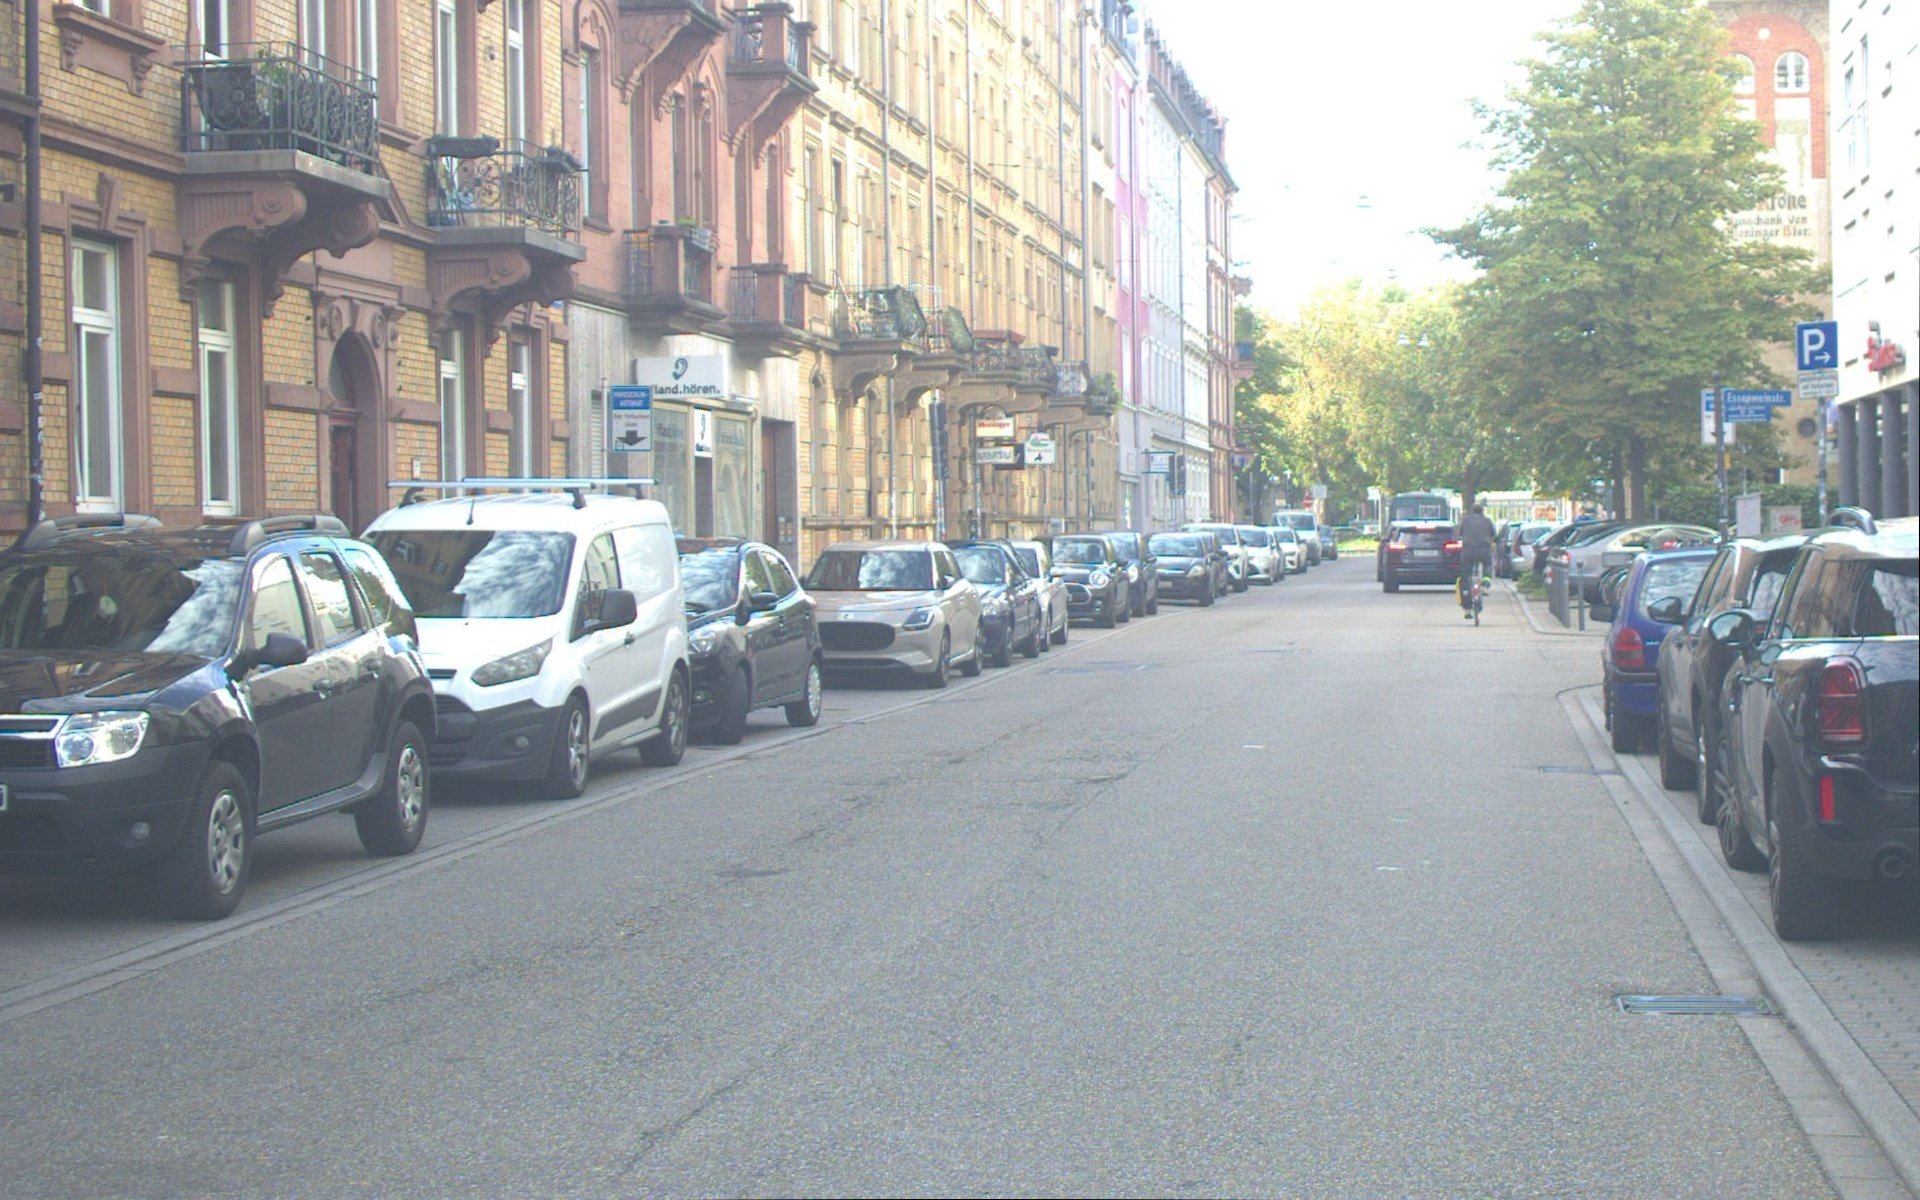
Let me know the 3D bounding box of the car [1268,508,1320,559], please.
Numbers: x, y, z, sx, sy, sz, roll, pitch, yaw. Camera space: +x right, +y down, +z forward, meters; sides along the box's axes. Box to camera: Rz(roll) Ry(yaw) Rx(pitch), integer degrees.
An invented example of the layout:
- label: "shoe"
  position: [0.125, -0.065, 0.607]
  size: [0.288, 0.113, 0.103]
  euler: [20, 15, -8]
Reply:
- label: "car"
  position: [12.212, -2.420, 125.529]
  size: [1.690, 1.815, 3.866]
  euler: [1, 1, 8]

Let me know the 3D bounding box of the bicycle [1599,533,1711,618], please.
- label: "bicycle"
  position: [10.014, -0.360, 49.551]
  size: [1.495, 1.142, 0.411]
  euler: [-3, 1, 4]

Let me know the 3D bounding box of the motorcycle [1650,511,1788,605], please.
- label: "motorcycle"
  position: [12.532, -0.699, 56.740]
  size: [2.151, 1.430, 0.765]
  euler: [-3, 1, 13]

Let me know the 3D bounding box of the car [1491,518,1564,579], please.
- label: "car"
  position: [15.699, -1.446, 95.229]
  size: [1.931, 1.632, 3.999]
  euler: [1, 2, 9]

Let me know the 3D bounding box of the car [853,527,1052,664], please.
- label: "car"
  position: [-0.039, -0.099, 40.727]
  size: [1.742, 1.478, 3.982]
  euler: [1, 2, 9]

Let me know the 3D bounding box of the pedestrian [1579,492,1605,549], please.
- label: "pedestrian"
  position: [25.173, -3.174, 136.962]
  size: [0.996, 2.222, 0.898]
  euler: [1, 2, 9]

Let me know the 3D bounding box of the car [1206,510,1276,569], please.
- label: "car"
  position: [7.704, -1.661, 94.048]
  size: [1.690, 1.545, 3.866]
  euler: [1, 1, 8]

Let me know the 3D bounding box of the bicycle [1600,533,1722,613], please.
- label: "bicycle"
  position: [10.939, -0.425, 53.663]
  size: [1.795, 1.155, 0.500]
  euler: [-3, 1, 12]

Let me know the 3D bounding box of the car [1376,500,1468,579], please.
- label: "car"
  position: [10.445, -1.344, 77.574]
  size: [1.965, 1.735, 4.040]
  euler: [0, 0, 9]

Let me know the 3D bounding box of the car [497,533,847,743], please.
- label: "car"
  position: [-2.155, 0.231, 26.796]
  size: [1.742, 1.478, 3.982]
  euler: [1, 1, 10]

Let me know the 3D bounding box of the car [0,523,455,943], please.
- label: "car"
  position: [-3.838, 0.471, 15.576]
  size: [1.994, 1.632, 4.144]
  euler: [0, 1, 8]

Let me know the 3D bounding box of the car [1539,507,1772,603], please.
- label: "car"
  position: [12.533, -0.810, 62.078]
  size: [3.760, 1.541, 1.731]
  euler: [-3, 0, -1]

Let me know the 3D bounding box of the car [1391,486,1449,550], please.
- label: "car"
  position: [14.765, -2.637, 110.374]
  size: [1.782, 2.013, 3.887]
  euler: [1, 2, 8]

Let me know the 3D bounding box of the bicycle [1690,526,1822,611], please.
- label: "bicycle"
  position: [11.551, -0.458, 49.909]
  size: [1.766, 1.142, 0.411]
  euler: [-3, 1, 3]

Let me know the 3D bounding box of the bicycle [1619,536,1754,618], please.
- label: "bicycle"
  position: [10.172, -0.325, 48.140]
  size: [1.766, 1.053, 0.411]
  euler: [-3, 1, 4]

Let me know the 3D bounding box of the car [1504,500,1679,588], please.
- label: "car"
  position: [15.187, -1.348, 82.589]
  size: [3.989, 1.678, 1.737]
  euler: [-3, 9, 13]

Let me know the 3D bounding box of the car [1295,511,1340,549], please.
- label: "car"
  position: [14.611, -2.859, 140.271]
  size: [1.690, 1.545, 3.866]
  euler: [1, 1, 8]

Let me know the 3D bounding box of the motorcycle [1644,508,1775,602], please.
- label: "motorcycle"
  position: [13.024, -0.782, 59.734]
  size: [2.151, 1.525, 0.686]
  euler: [-3, 1, 13]

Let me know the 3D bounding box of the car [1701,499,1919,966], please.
- label: "car"
  position: [4.075, 0.396, 13.979]
  size: [1.793, 1.600, 3.923]
  euler: [-3, 1, 9]

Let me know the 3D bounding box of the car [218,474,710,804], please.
- label: "car"
  position: [-2.981, 0.163, 21.704]
  size: [1.920, 1.865, 4.436]
  euler: [0, 2, 8]

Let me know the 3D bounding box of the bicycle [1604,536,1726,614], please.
- label: "bicycle"
  position: [10.663, -0.376, 52.008]
  size: [1.766, 1.095, 0.411]
  euler: [-3, 1, 12]

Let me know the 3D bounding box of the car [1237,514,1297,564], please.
- label: "car"
  position: [9.773, -1.933, 109.231]
  size: [1.690, 1.545, 3.866]
  euler: [1, 1, 8]

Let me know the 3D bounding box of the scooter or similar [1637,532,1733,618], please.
- label: "scooter or similar"
  position: [10.020, -0.342, 47.530]
  size: [1.208, 1.143, 0.378]
  euler: [-2, 3, 40]

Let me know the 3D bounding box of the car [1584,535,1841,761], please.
- label: "car"
  position: [5.371, 0.288, 24.896]
  size: [1.596, 1.434, 4.029]
  euler: [-1, 1, 10]

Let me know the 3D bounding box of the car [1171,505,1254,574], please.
- label: "car"
  position: [6.055, -1.462, 82.196]
  size: [1.690, 1.544, 3.866]
  euler: [1, 2, 8]

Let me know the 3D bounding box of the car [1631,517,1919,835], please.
- label: "car"
  position: [4.757, 0.340, 19.184]
  size: [1.688, 1.572, 3.901]
  euler: [-1, 1, 7]

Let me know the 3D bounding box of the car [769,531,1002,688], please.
- label: "car"
  position: [-0.715, 0.048, 35.821]
  size: [1.742, 1.478, 3.982]
  euler: [1, 2, 9]

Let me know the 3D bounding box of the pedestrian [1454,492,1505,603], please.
- label: "pedestrian"
  position: [7.852, -0.802, 51.944]
  size: [0.718, 1.644, 0.930]
  euler: [1, 2, 9]

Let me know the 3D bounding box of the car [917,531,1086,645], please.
- label: "car"
  position: [0.589, -0.191, 45.306]
  size: [1.691, 1.382, 3.866]
  euler: [1, 2, 9]

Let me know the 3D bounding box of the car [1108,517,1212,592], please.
- label: "car"
  position: [4.101, -0.945, 70.030]
  size: [1.691, 1.364, 3.866]
  euler: [3, 2, 9]

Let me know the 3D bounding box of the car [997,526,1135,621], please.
- label: "car"
  position: [1.699, -0.449, 53.891]
  size: [1.691, 1.382, 3.866]
  euler: [1, 2, 9]

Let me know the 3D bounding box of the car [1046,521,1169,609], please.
- label: "car"
  position: [2.602, -0.628, 59.898]
  size: [1.691, 1.432, 3.866]
  euler: [1, 2, 9]

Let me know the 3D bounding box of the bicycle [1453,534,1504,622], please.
- label: "bicycle"
  position: [7.799, -0.344, 51.713]
  size: [0.718, 1.270, 1.883]
  euler: [1, 2, 9]
